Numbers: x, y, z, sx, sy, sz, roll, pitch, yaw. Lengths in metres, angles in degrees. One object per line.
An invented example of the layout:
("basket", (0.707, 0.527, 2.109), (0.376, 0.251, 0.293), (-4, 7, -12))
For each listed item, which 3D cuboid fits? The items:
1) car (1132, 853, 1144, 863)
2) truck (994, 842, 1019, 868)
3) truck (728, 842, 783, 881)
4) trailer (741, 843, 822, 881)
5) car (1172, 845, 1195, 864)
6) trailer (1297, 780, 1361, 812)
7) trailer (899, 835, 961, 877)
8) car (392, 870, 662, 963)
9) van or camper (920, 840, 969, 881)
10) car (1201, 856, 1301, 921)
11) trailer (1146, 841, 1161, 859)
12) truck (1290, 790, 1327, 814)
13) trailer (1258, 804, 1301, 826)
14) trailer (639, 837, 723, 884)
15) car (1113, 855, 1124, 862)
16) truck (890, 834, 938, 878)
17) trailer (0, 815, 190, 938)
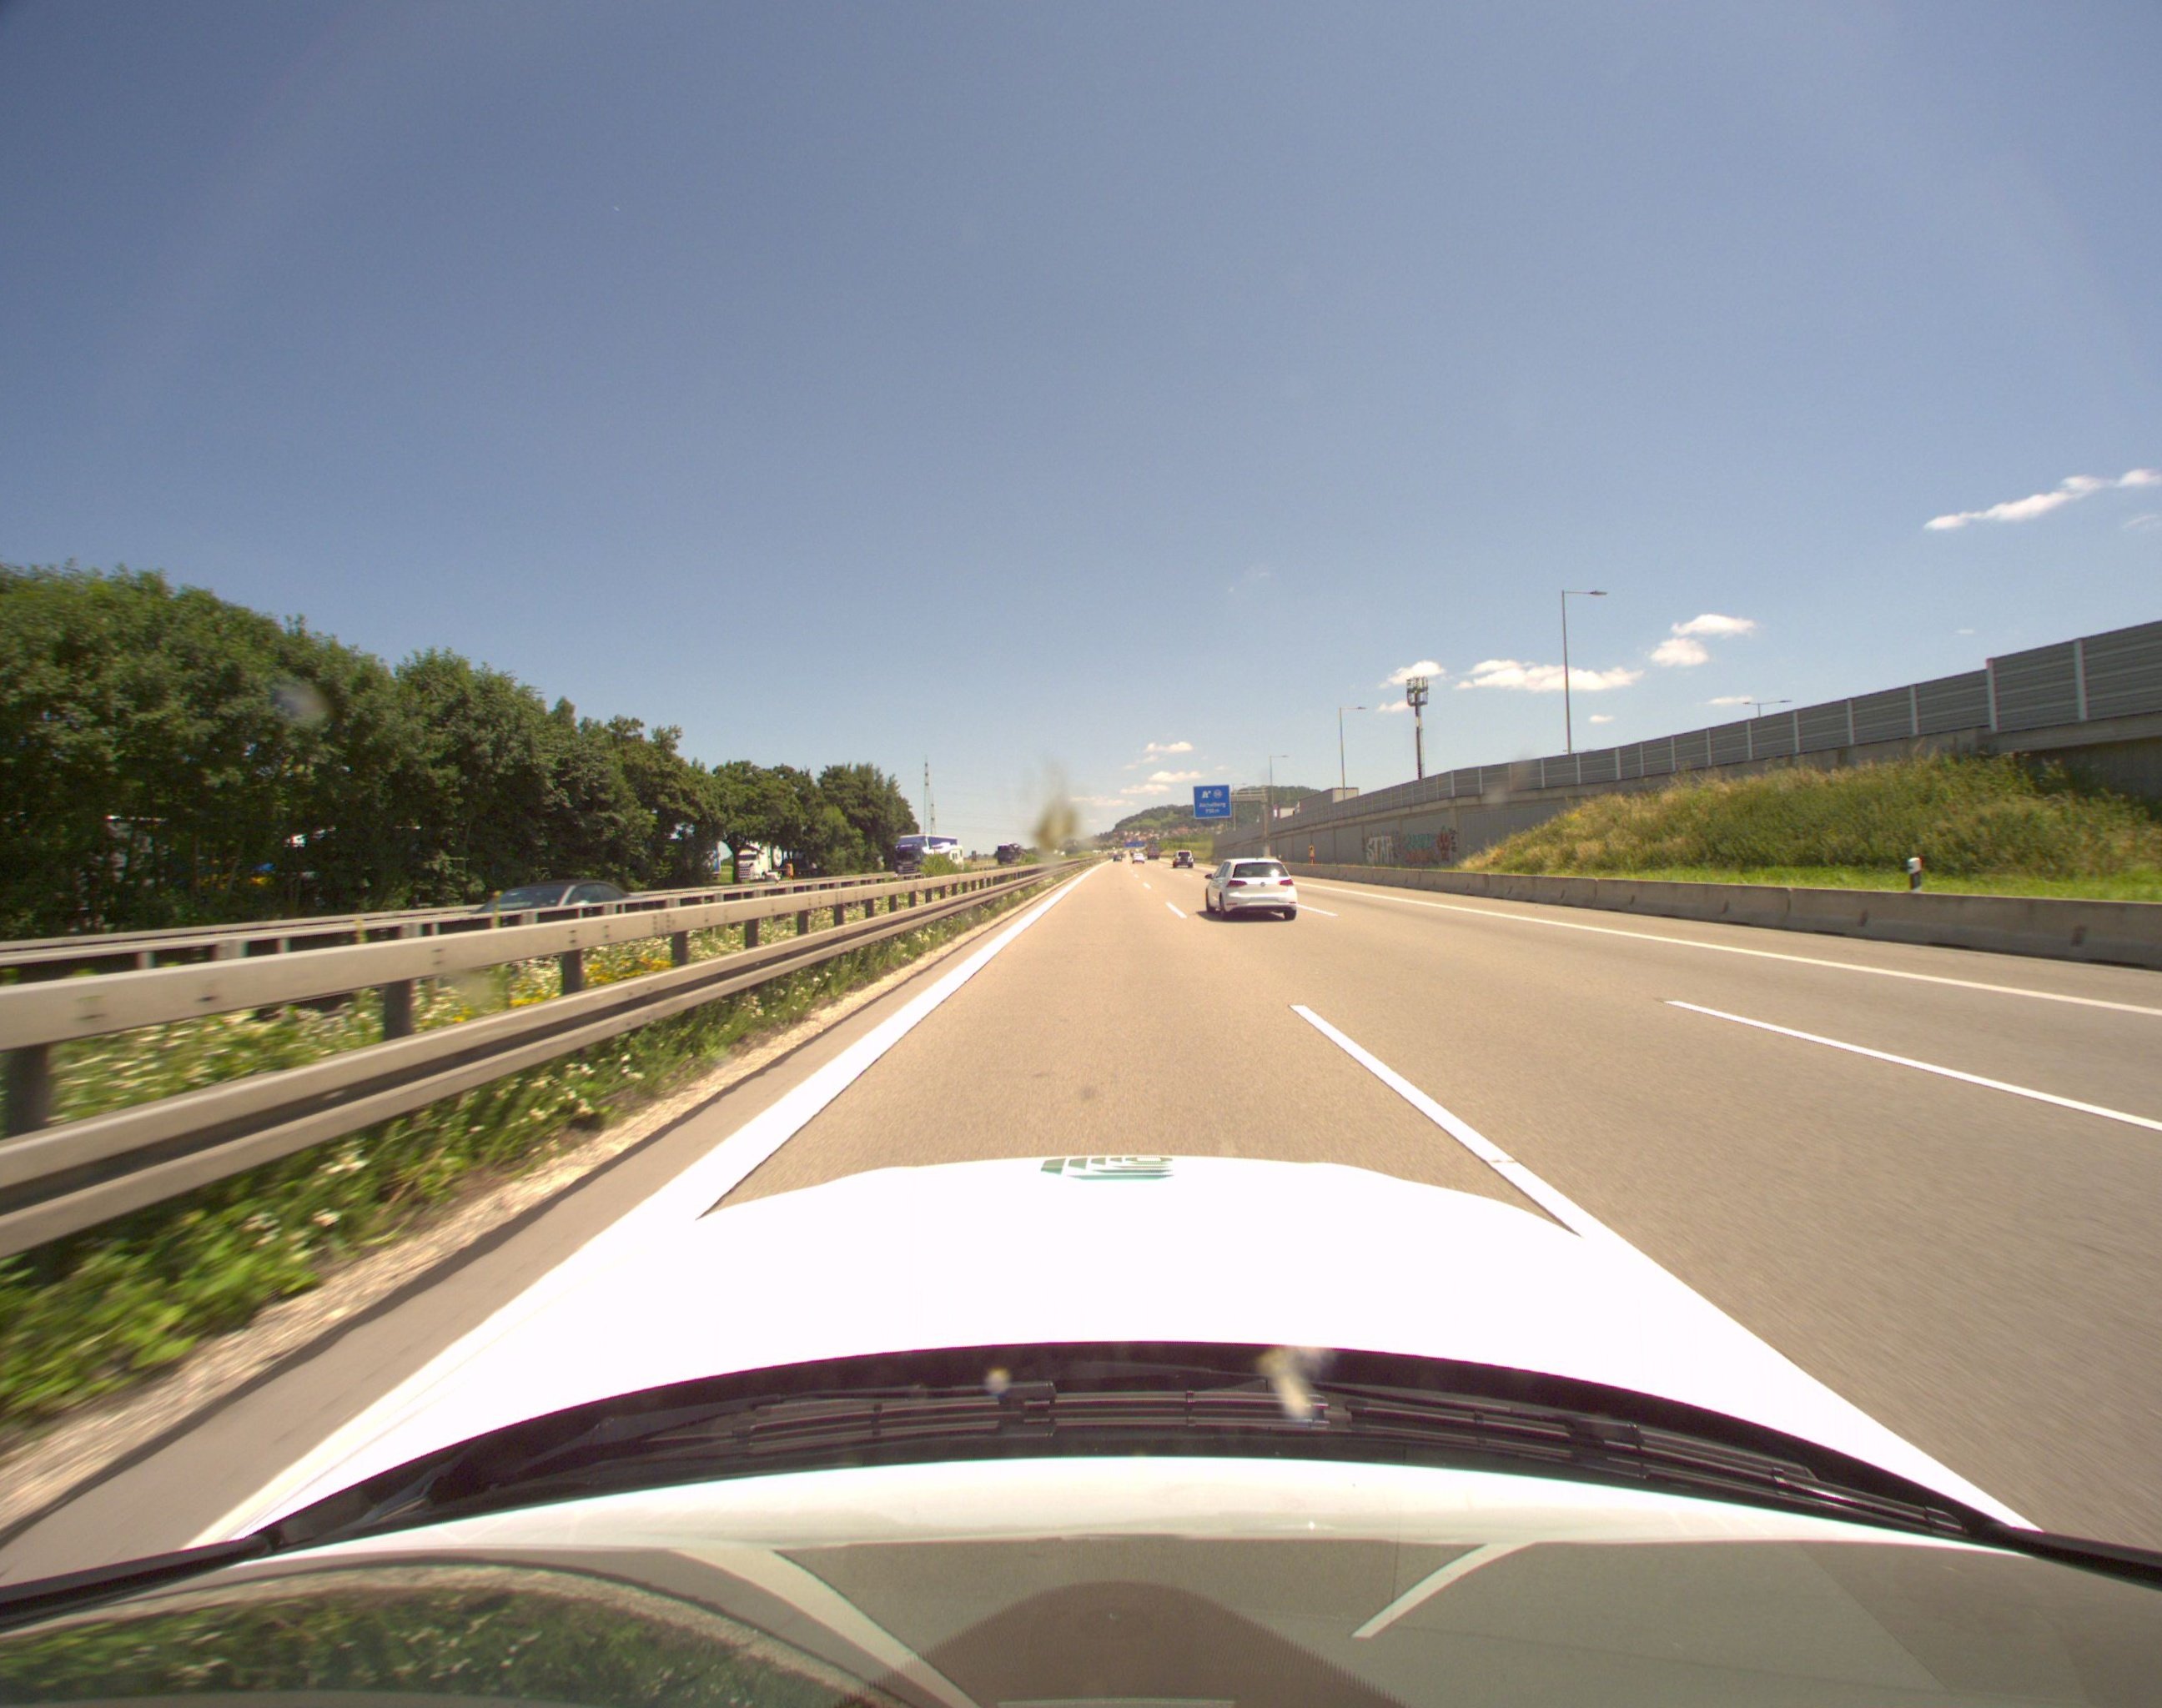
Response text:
("car", (9.079, 0.626, 129.923), (1.906, 1.581, 5.235), (0, -1, 3))
("truck", (-11.669, 0.177, 128.187), (2.665, 3.819, 9.158), (0, -1, 2))
("truck", (-32.285, 0.755, 80.977), (2.785, 3.783, 6.103), (0, -1, 3))
("trailer", (-31.960, 0.861, 87.828), (2.757, 3.779, 14.420), (0, -1, 3))
("car", (10.974, 0.043, 87.374), (2.026, 1.804, 4.253), (-3, 0, 2))
("trailer", (26.008, -6.042, 86.405), (2.709, 2.224, 14.531), (0, -1, 1))
("trailer", (-14.555, 0.270, 79.770), (2.831, 3.734, 14.537), (0, -1, 2))
("car", (-9.210, 0.966, 14.013), (1.793, 1.310, 4.002), (0, -1, 2))
("van or camper", (-10.757, 0.518, 64.675), (2.261, 2.969, 6.957), (-3, 0, 3))
("car", (4.164, 0.789, 20.698), (1.769, 1.433, 4.694), (0, 0, 3))
("trailer", (17.529, -0.984, 197.344), (2.716, 4.155, 11.807), (0, -1, 0))
("truck", (26.184, -5.956, 93.847), (2.713, 2.230, 6.038), (0, -1, 2))
("trailer", (26.792, -5.184, 110.761), (2.709, 2.224, 14.023), (0, -1, 1))
("trailer", (-32.770, 0.548, 67.223), (2.536, 3.662, 8.714), (0, -1, 1))
("car", (7.332, 0.892, 160.018), (1.985, 1.389, 4.004), (0, -1, 4))
("truck", (-14.809, 0.195, 72.667), (2.837, 3.745, 5.696), (0, -1, 2))
("trailer", (-33.675, 0.668, 23.075), (1.986, 3.697, 13.190), (0, -1, 2))
